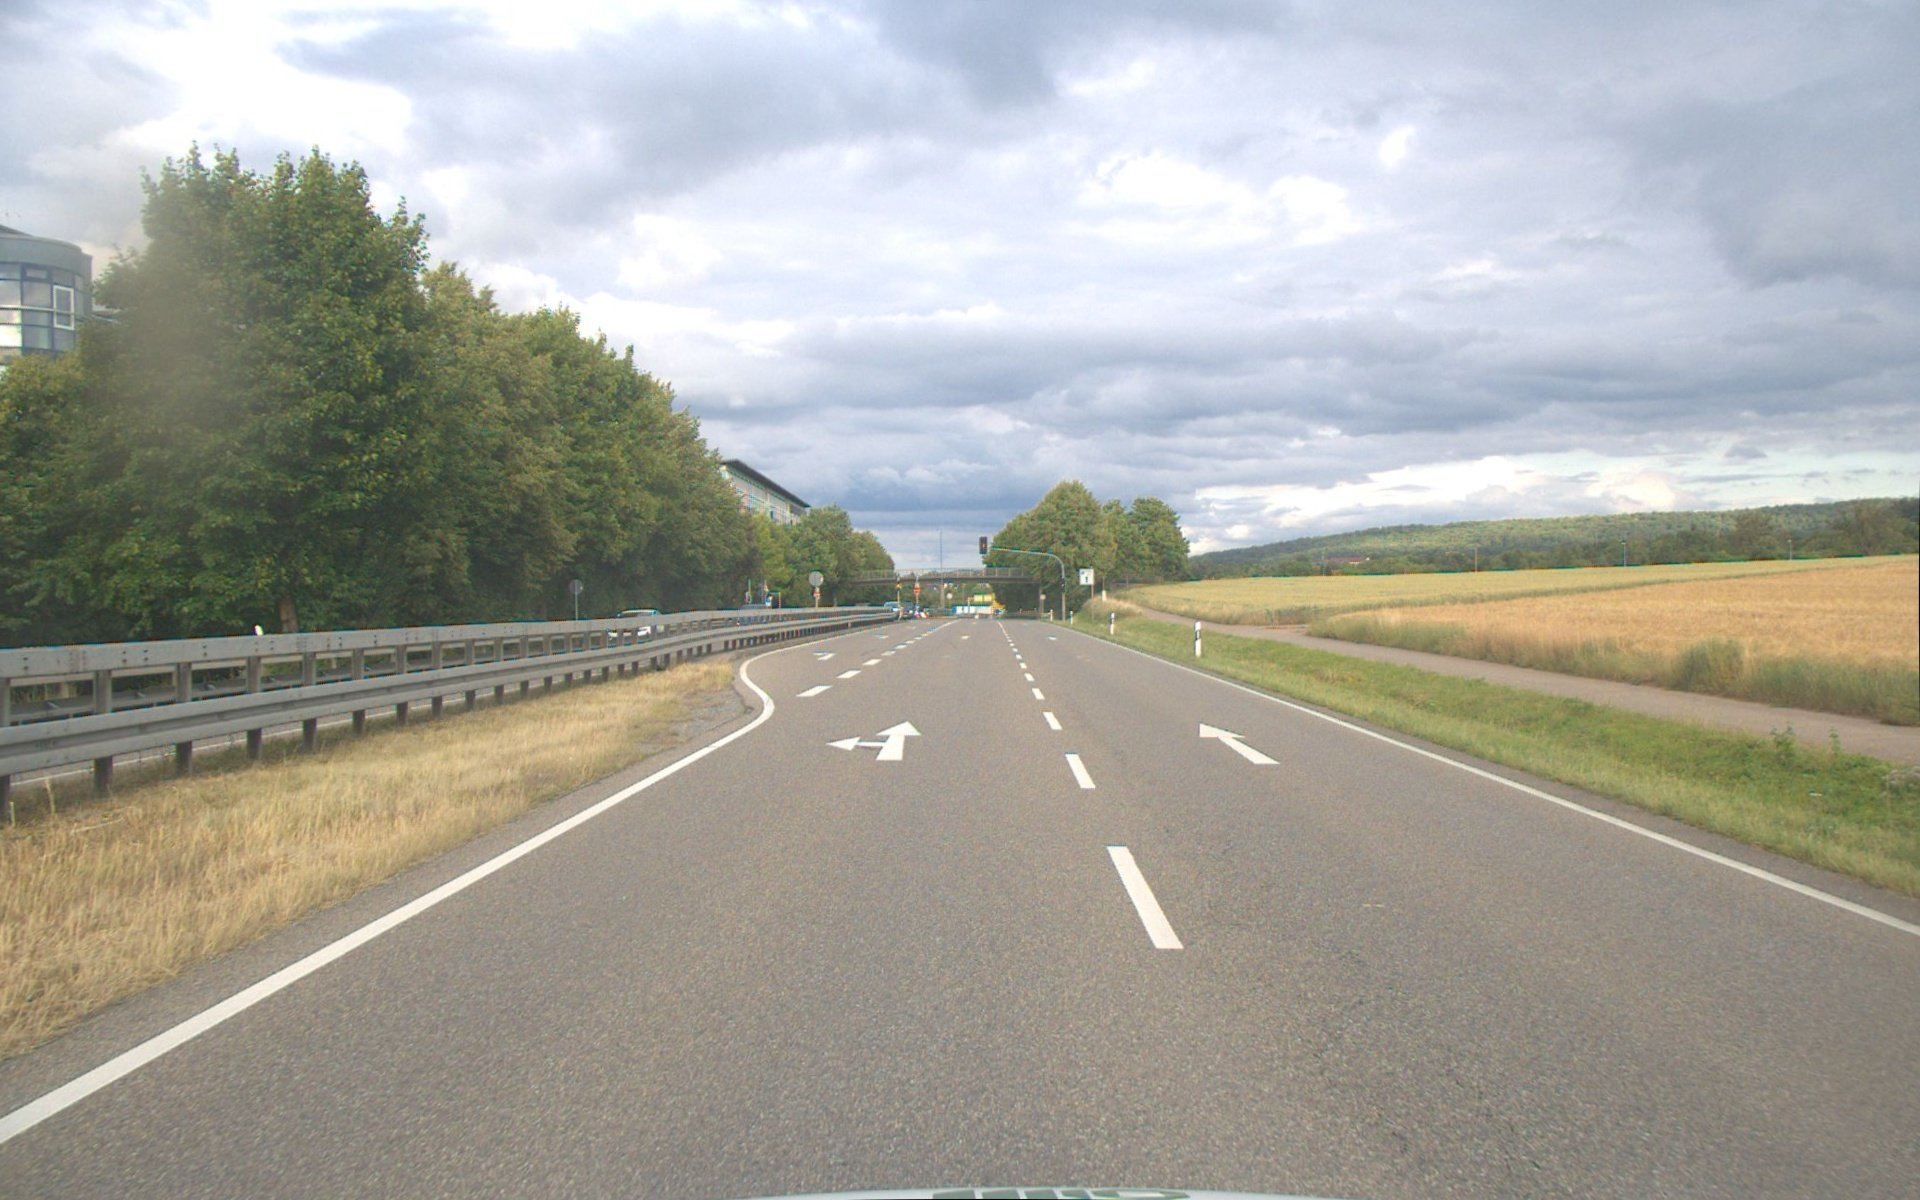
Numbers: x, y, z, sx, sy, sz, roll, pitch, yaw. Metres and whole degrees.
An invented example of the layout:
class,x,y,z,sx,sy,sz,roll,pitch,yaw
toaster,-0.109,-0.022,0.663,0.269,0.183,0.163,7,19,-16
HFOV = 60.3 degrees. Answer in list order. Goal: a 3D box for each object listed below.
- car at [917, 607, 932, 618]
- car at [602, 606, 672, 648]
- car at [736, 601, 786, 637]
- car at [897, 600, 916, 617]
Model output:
class,x,y,z,sx,sy,sz,roll,pitch,yaw
car,-3.592,1.260,166.570,1.329,1.111,2.922,-1,0,2
car,-12.272,1.008,63.088,1.723,1.438,4.459,-1,0,0
car,-8.815,0.818,73.539,1.732,1.493,3.712,-1,0,0
car,-6.138,0.936,189.145,1.952,1.906,4.737,-1,0,1
